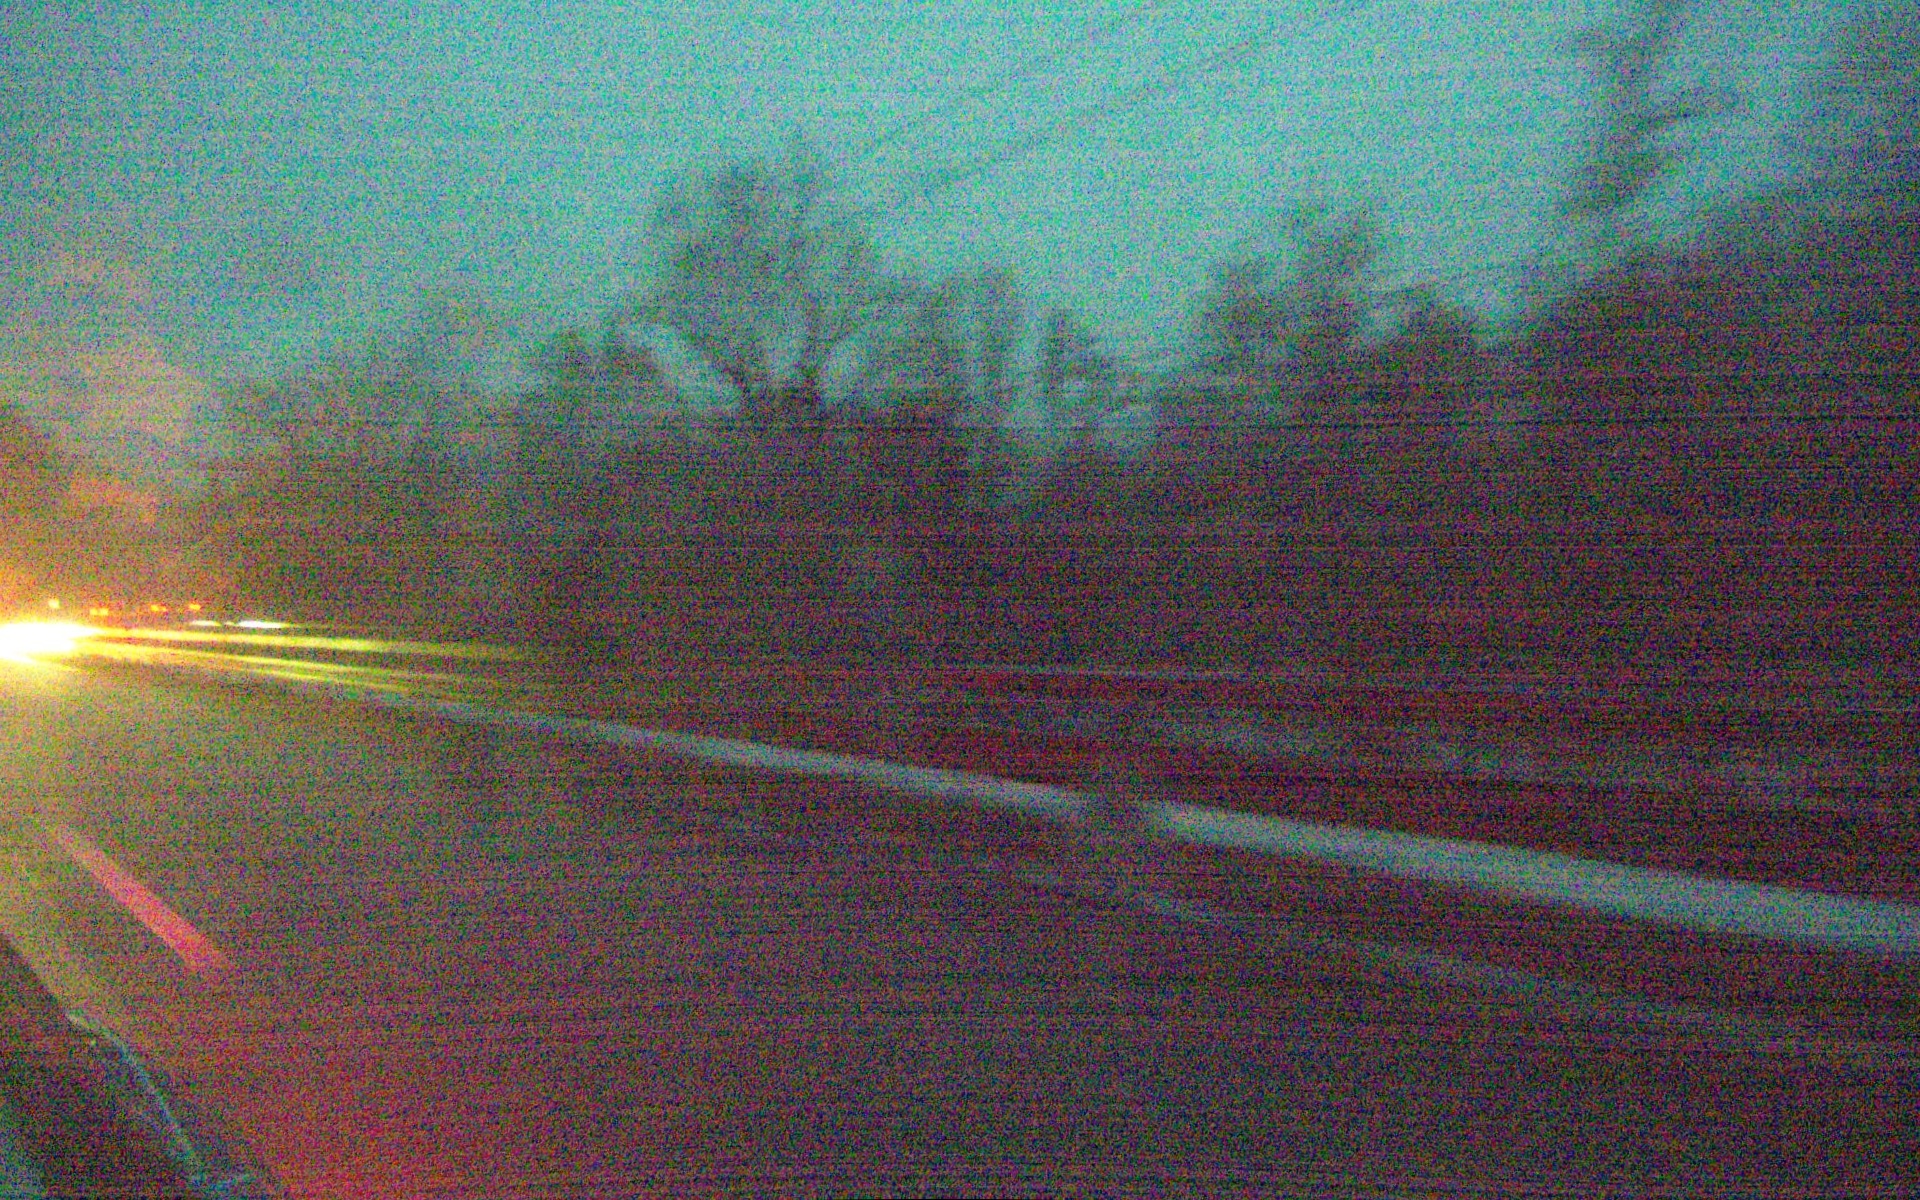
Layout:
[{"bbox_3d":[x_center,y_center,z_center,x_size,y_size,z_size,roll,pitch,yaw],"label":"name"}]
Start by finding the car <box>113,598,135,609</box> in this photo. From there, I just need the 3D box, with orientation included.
[{"bbox_3d":[-146.163,0.615,177.007,1.965,1.940,4.013,0,0,-25],"label":"car"}]
